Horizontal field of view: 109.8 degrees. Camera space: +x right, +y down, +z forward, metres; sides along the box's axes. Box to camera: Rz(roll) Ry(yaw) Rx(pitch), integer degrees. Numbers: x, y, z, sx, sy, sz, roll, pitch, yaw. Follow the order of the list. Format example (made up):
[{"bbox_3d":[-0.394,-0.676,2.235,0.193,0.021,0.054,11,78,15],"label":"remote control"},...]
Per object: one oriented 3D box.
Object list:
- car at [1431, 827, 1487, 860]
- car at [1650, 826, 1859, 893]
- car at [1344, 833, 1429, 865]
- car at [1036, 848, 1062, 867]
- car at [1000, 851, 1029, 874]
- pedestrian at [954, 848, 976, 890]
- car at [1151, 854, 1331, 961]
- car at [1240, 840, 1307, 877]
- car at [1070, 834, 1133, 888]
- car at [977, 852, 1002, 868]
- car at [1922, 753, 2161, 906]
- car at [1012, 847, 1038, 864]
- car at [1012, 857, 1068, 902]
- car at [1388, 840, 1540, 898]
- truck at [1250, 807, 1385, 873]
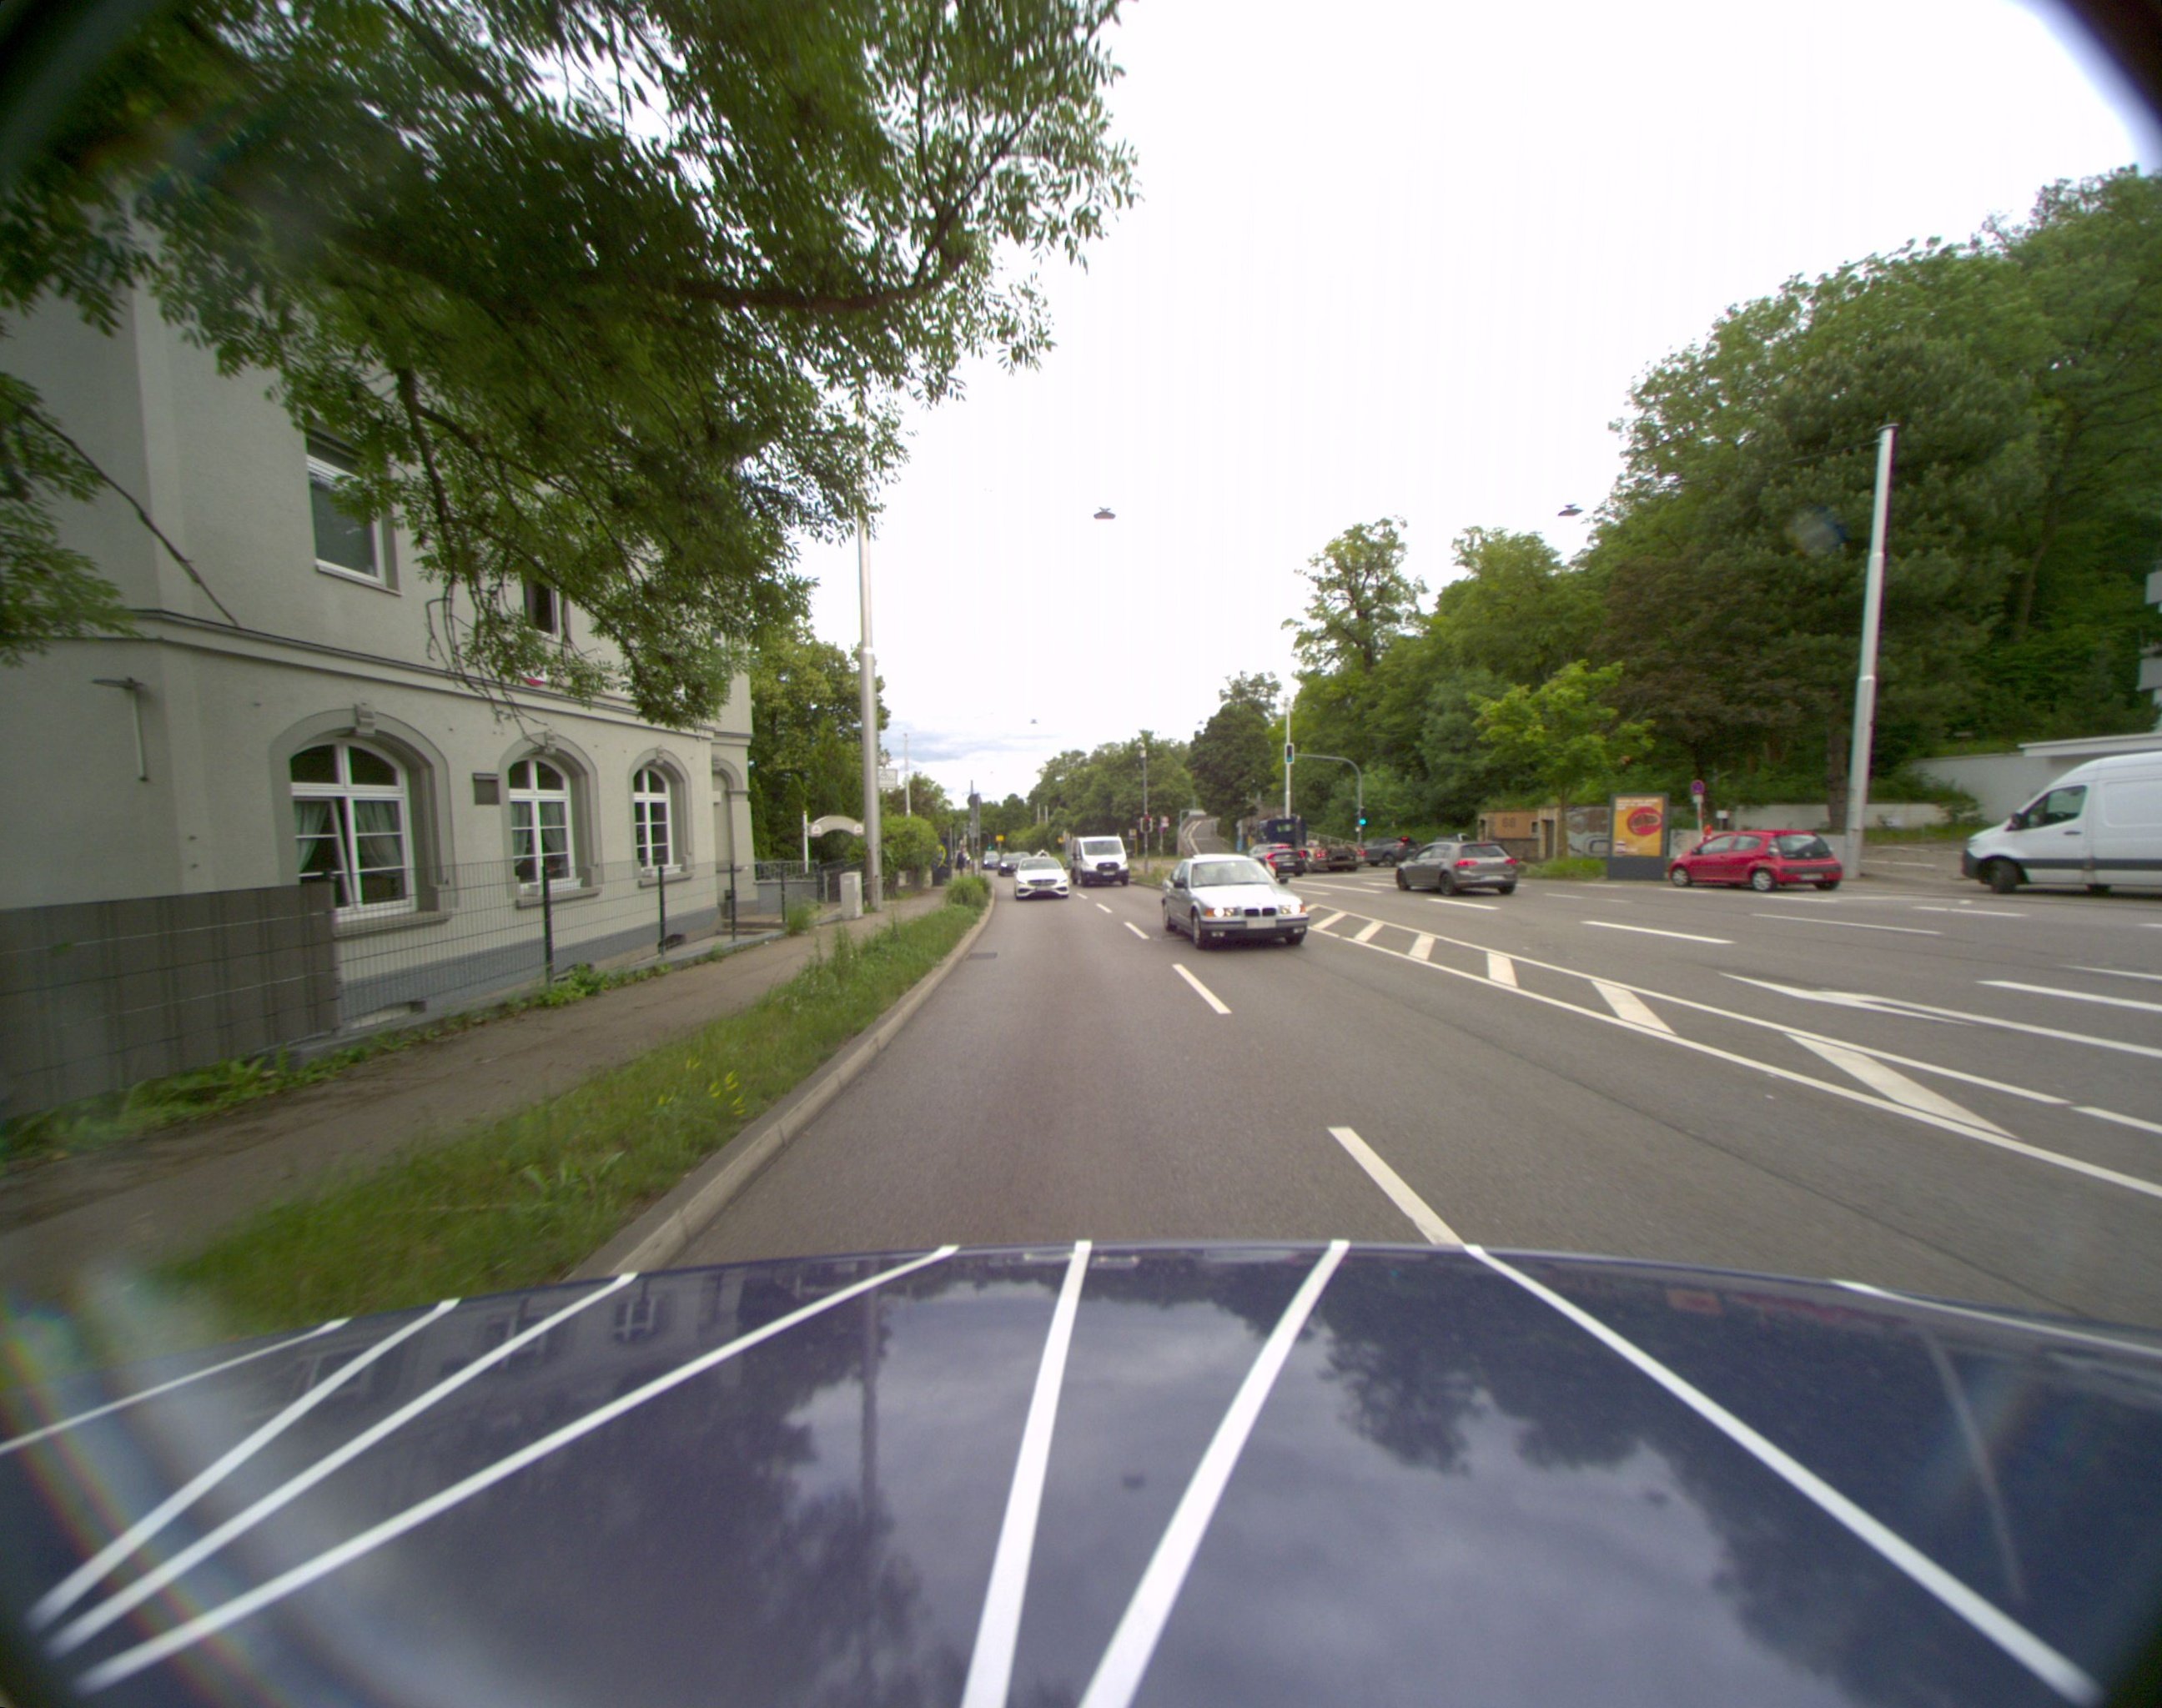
[{"bbox_3d":[19.954,-0.540,40.112,2.715,1.512,1.560,-6,3,-38],"label":"car"},{"bbox_3d":[16.539,0.114,18.949,1.626,1.457,3.925,-2,1,-3],"label":"car"},{"bbox_3d":[15.837,-0.259,39.587,1.600,1.531,4.124,-2,1,-25],"label":"car"},{"bbox_3d":[-2.683,0.252,62.848,1.679,1.532,4.549,-1,1,-8],"label":"car"},{"bbox_3d":[-4.690,0.565,52.977,1.679,1.532,4.611,-1,1,-9],"label":"car"},{"bbox_3d":[-5.214,0.673,34.147,0.696,1.823,0.618,-4,2,-42],"label":"pedestrian"},{"bbox_3d":[2.466,0.744,12.960,1.758,1.385,4.612,-2,1,-4],"label":"car"},{"bbox_3d":[8.772,0.177,35.014,1.700,1.488,4.484,-2,1,-4],"label":"car"},{"bbox_3d":[0.789,0.245,33.913,2.253,2.114,6.667,-2,1,-3],"label":"car"},{"bbox_3d":[-8.482,0.562,70.200,1.809,1.385,4.278,-2,1,-14],"label":"car"},{"bbox_3d":[19.068,-0.434,12.566,2.237,2.553,7.421,-1,1,1],"label":"car"},{"bbox_3d":[-5.398,0.148,73.268,1.680,1.532,4.609,-1,1,-14],"label":"car"},{"bbox_3d":[-1.459,0.833,26.825,1.808,1.385,4.282,-1,1,-4],"label":"car"},{"bbox_3d":[10.395,0.350,21.029,1.848,1.385,4.282,-2,1,-3],"label":"car"},{"bbox_3d":[11.901,-0.680,39.472,2.971,2.954,8.970,-2,1,-9],"label":"truck"}]
